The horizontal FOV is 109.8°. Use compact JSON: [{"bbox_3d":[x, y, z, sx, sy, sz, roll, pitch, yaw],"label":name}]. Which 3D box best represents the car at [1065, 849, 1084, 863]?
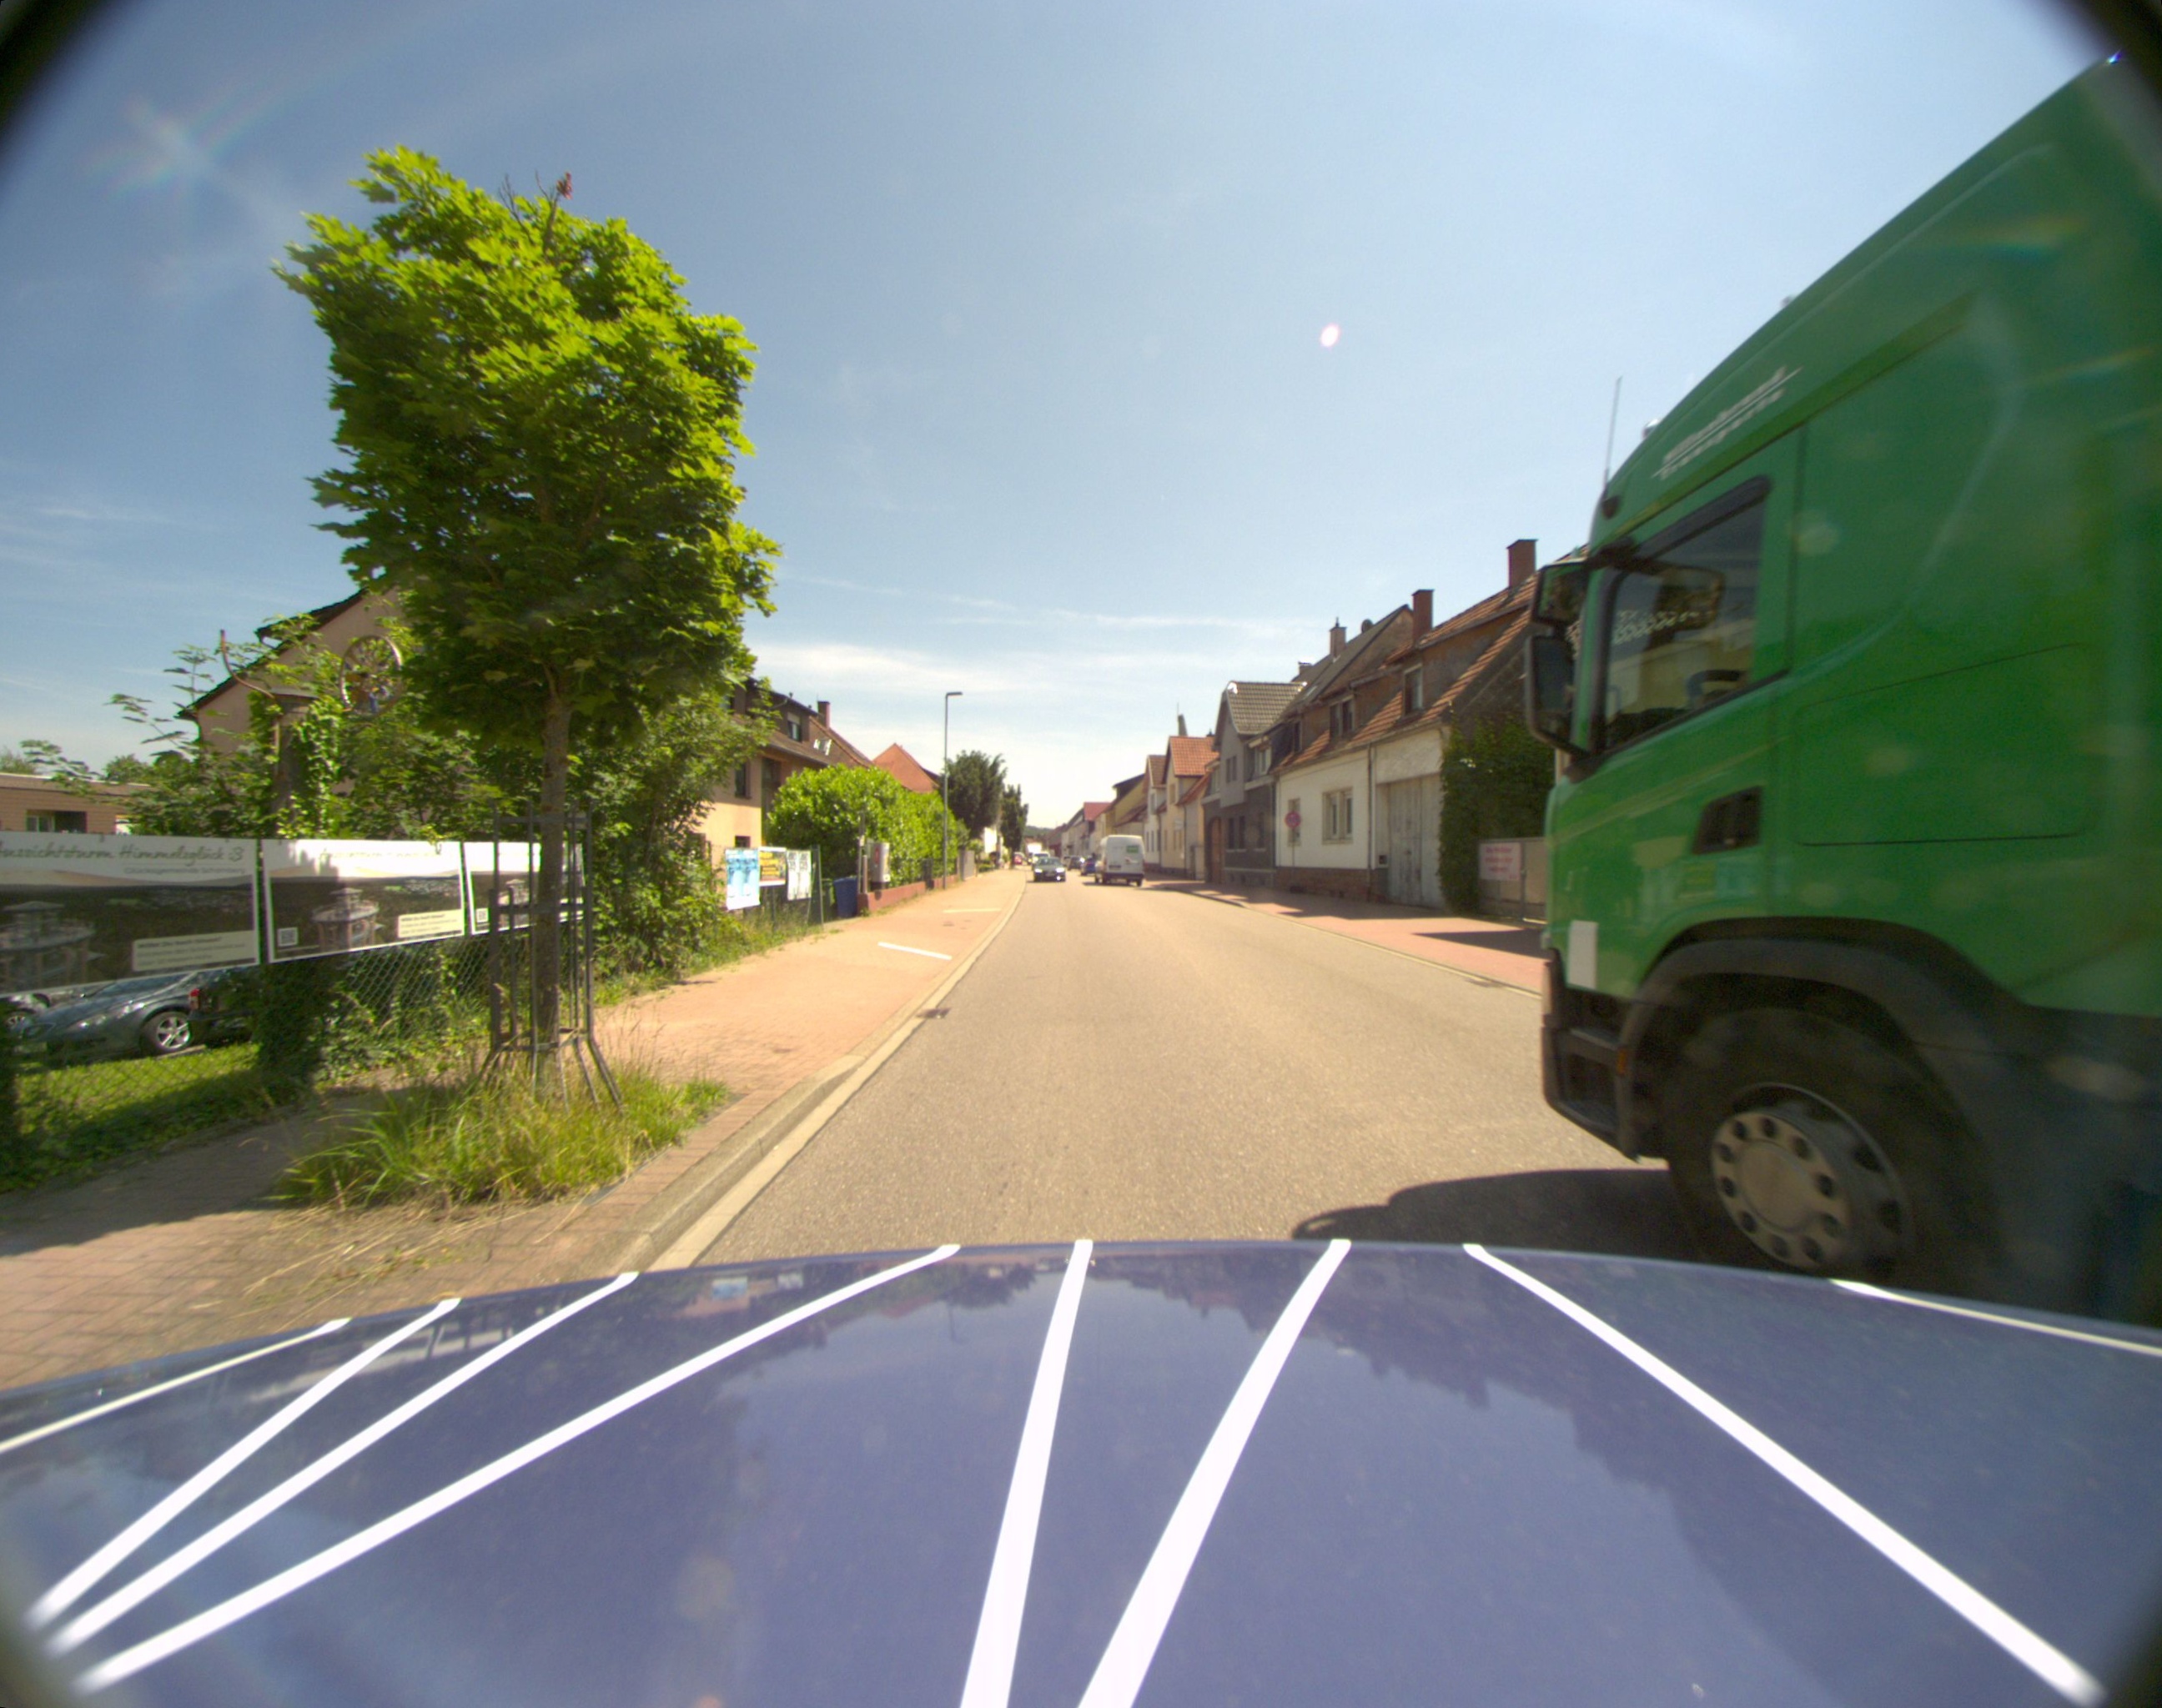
[{"bbox_3d":[-0.826,0.190,90.761,1.879,1.593,4.429,1,0,-5],"label":"car"}]

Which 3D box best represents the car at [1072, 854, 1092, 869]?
[{"bbox_3d":[0.072,0.708,75.017,1.681,1.450,3.926,1,0,-5],"label":"car"}]

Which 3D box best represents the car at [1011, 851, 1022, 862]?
[{"bbox_3d":[-10.223,0.400,120.653,1.637,1.572,3.568,1,0,-4],"label":"car"}]

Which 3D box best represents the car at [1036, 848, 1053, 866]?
[{"bbox_3d":[-3.706,0.284,77.278,1.637,1.833,3.568,0,0,-3],"label":"car"}]

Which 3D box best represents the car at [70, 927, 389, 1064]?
[{"bbox_3d":[-14.255,2.293,13.017,1.325,1.465,3.292,-6,3,9],"label":"car"}]

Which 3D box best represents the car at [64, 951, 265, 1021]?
[{"bbox_3d":[-28.194,4.019,23.550,1.746,1.433,3.535,-2,1,6],"label":"car"}]

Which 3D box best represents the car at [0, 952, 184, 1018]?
[{"bbox_3d":[-31.889,4.133,24.404,1.746,1.433,3.535,-2,1,6],"label":"car"}]

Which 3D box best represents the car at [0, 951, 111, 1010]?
[{"bbox_3d":[-34.279,4.121,24.317,1.747,1.433,3.534,-2,1,3],"label":"car"}]

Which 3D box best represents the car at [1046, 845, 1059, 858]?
[{"bbox_3d":[-5.686,-0.503,150.252,2.116,2.517,4.911,2,0,-5],"label":"car"}]

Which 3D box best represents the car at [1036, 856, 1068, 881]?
[{"bbox_3d":[-1.688,0.799,43.633,1.706,1.346,3.998,-2,0,-4],"label":"car"}]

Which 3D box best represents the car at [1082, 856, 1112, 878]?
[{"bbox_3d":[1.078,0.893,54.331,1.650,1.445,4.399,-3,0,-5],"label":"car"}]

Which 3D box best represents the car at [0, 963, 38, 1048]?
[{"bbox_3d":[-20.473,2.928,12.700,1.326,1.465,3.290,-7,2,0],"label":"car"}]

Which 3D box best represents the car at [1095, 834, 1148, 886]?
[{"bbox_3d":[2.029,0.263,39.817,2.035,2.446,6.066,2,0,-3],"label":"car"}]

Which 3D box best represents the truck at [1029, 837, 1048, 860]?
[{"bbox_3d":[-7.160,-0.928,126.243,2.899,3.516,12.948,0,0,-4],"label":"truck"}]

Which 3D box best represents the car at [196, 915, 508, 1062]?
[{"bbox_3d":[-11.735,2.067,12.624,1.496,1.465,3.569,-9,2,0],"label":"car"}]
